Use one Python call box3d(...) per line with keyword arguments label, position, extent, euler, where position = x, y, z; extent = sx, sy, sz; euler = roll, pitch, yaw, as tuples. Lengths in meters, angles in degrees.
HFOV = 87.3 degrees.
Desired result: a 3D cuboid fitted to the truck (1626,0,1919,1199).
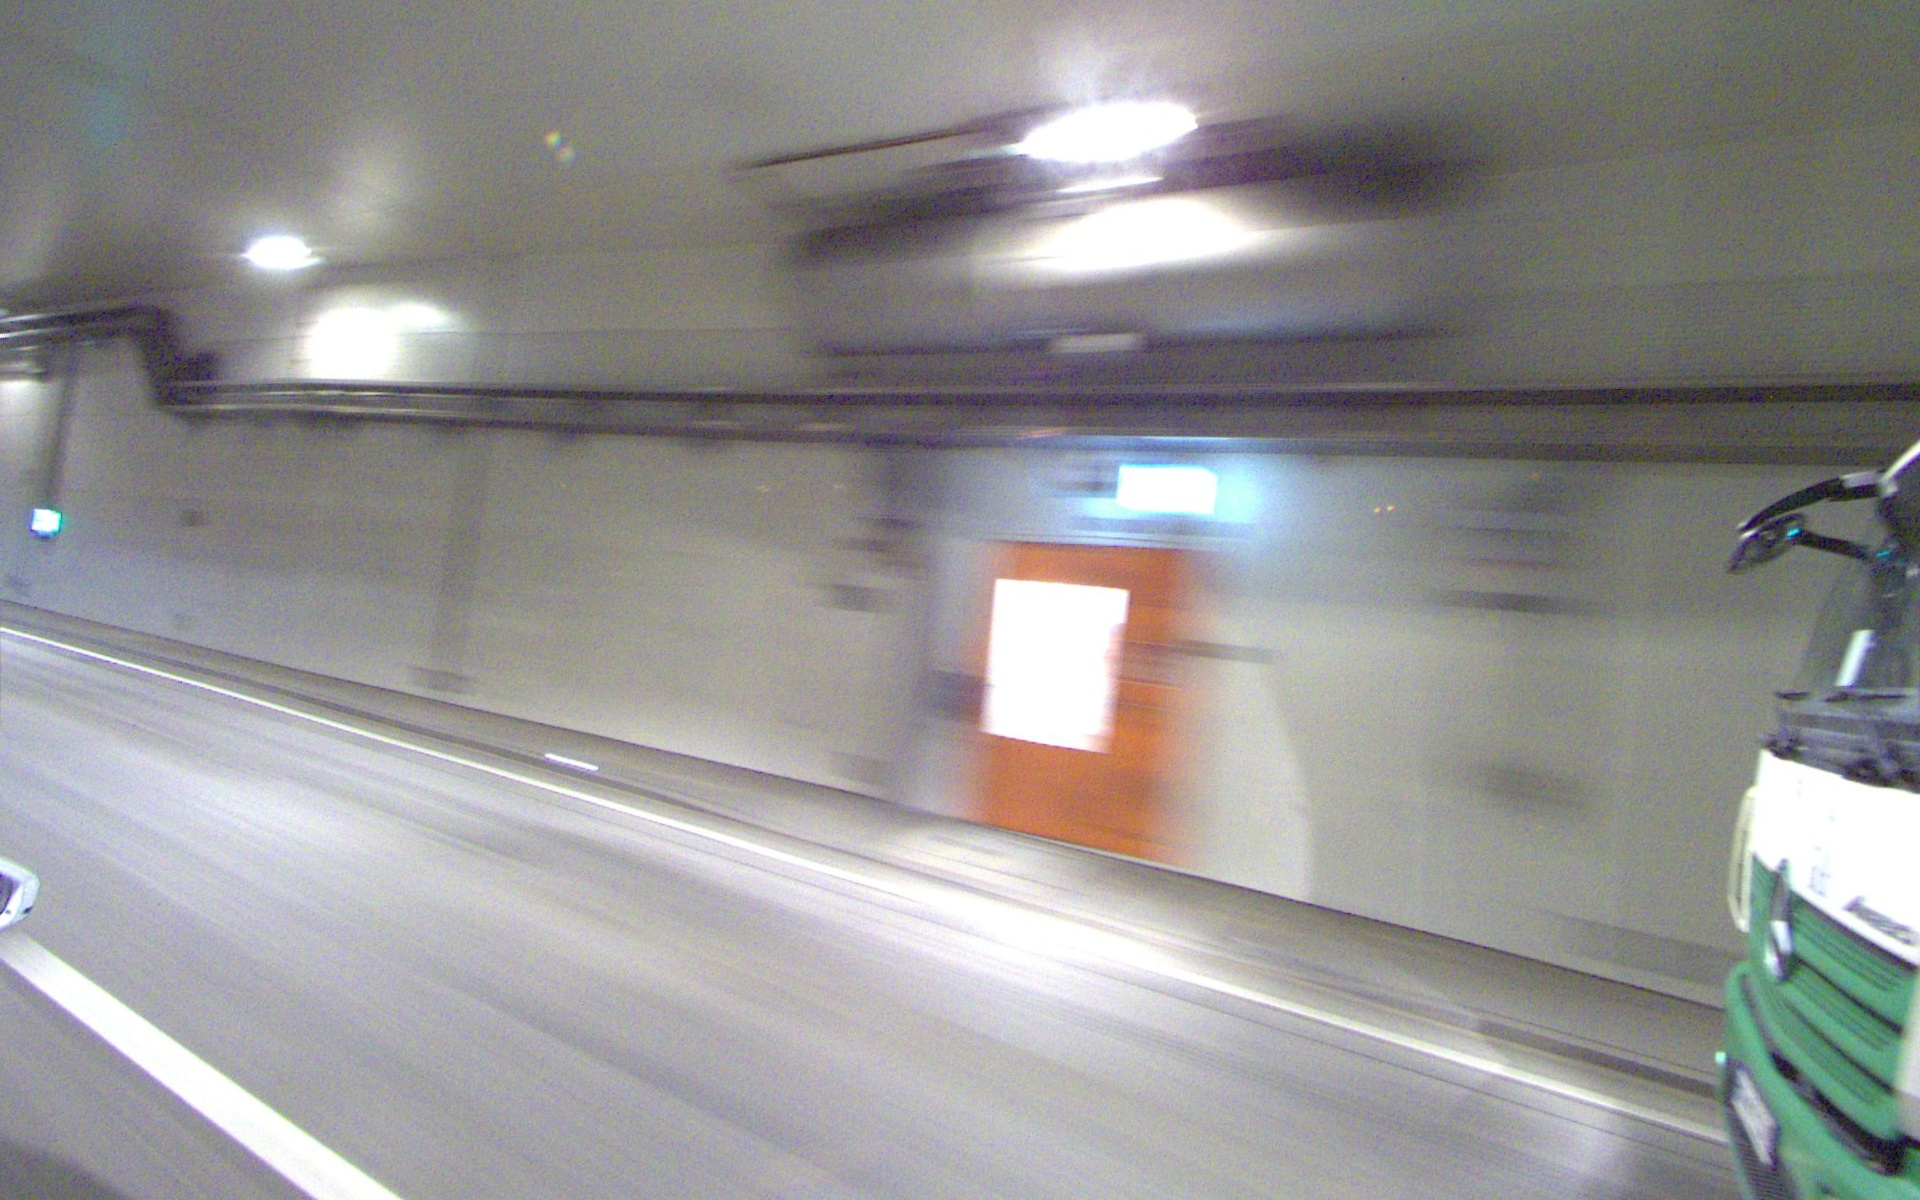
box3d(label="truck", position=(5.095, 0.615, 0.823), extent=(7.124, 3.217, 2.559), euler=(8, -1, 31))
